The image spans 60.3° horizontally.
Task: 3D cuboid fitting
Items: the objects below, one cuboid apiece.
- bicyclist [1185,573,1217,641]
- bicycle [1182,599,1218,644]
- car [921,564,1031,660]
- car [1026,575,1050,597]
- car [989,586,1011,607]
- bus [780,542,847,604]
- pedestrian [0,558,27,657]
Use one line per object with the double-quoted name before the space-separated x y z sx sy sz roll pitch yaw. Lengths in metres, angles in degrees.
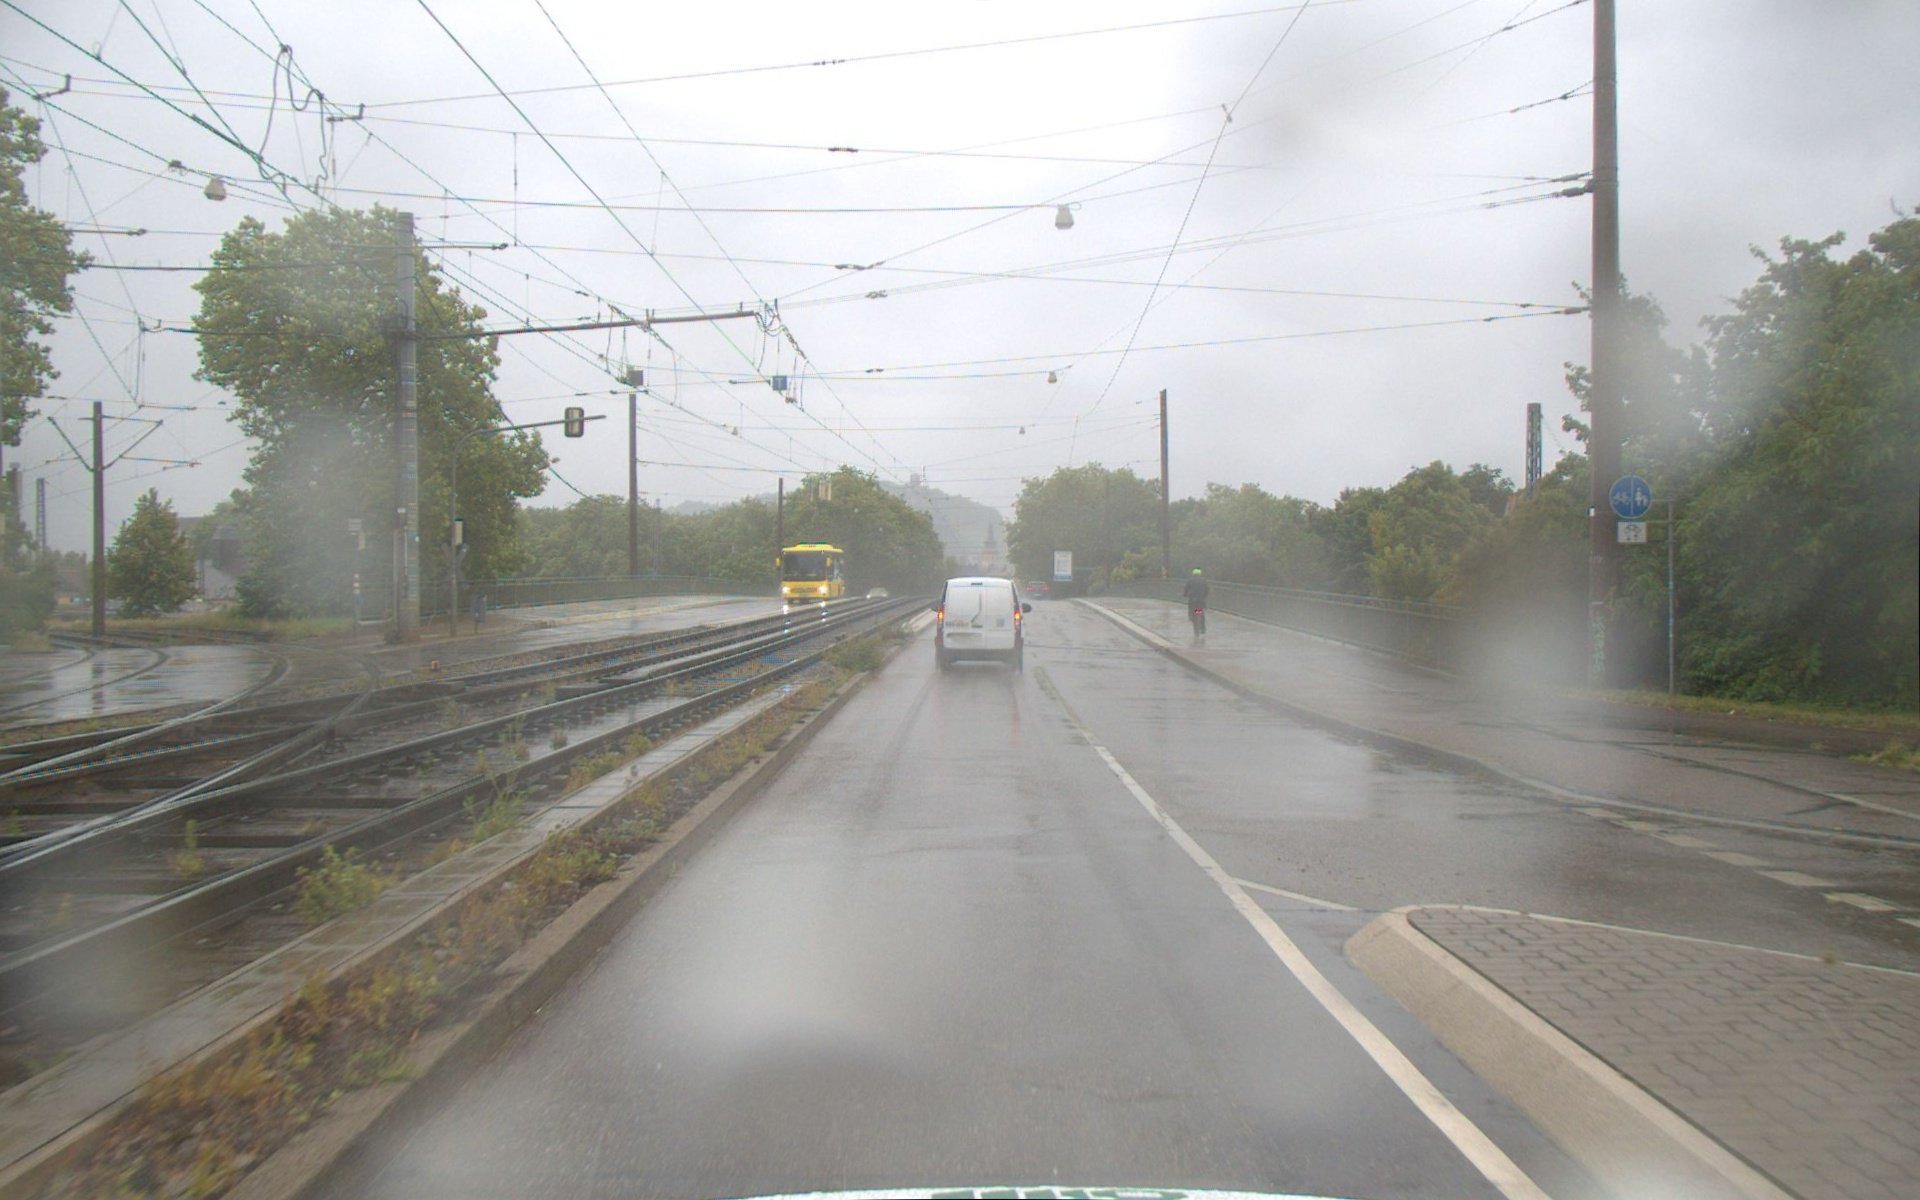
"bicyclist" 6.514 0.200 44.812 0.710 1.794 0.949 2 -1 2
"bicycle" 6.491 0.568 44.794 0.708 1.148 2.168 2 0 2
"car" 0.388 0.238 33.277 1.952 1.756 4.002 2 0 4
"car" 5.665 -1.031 120.361 1.422 1.525 2.981 2 0 -2
"car" 3.059 -0.239 127.147 1.422 1.525 2.981 2 0 -2
"bus" -8.551 -1.688 97.779 2.652 3.399 10.997 -2 2 1
"pedestrian" -18.435 0.135 31.364 0.847 1.850 1.043 2 -1 0
